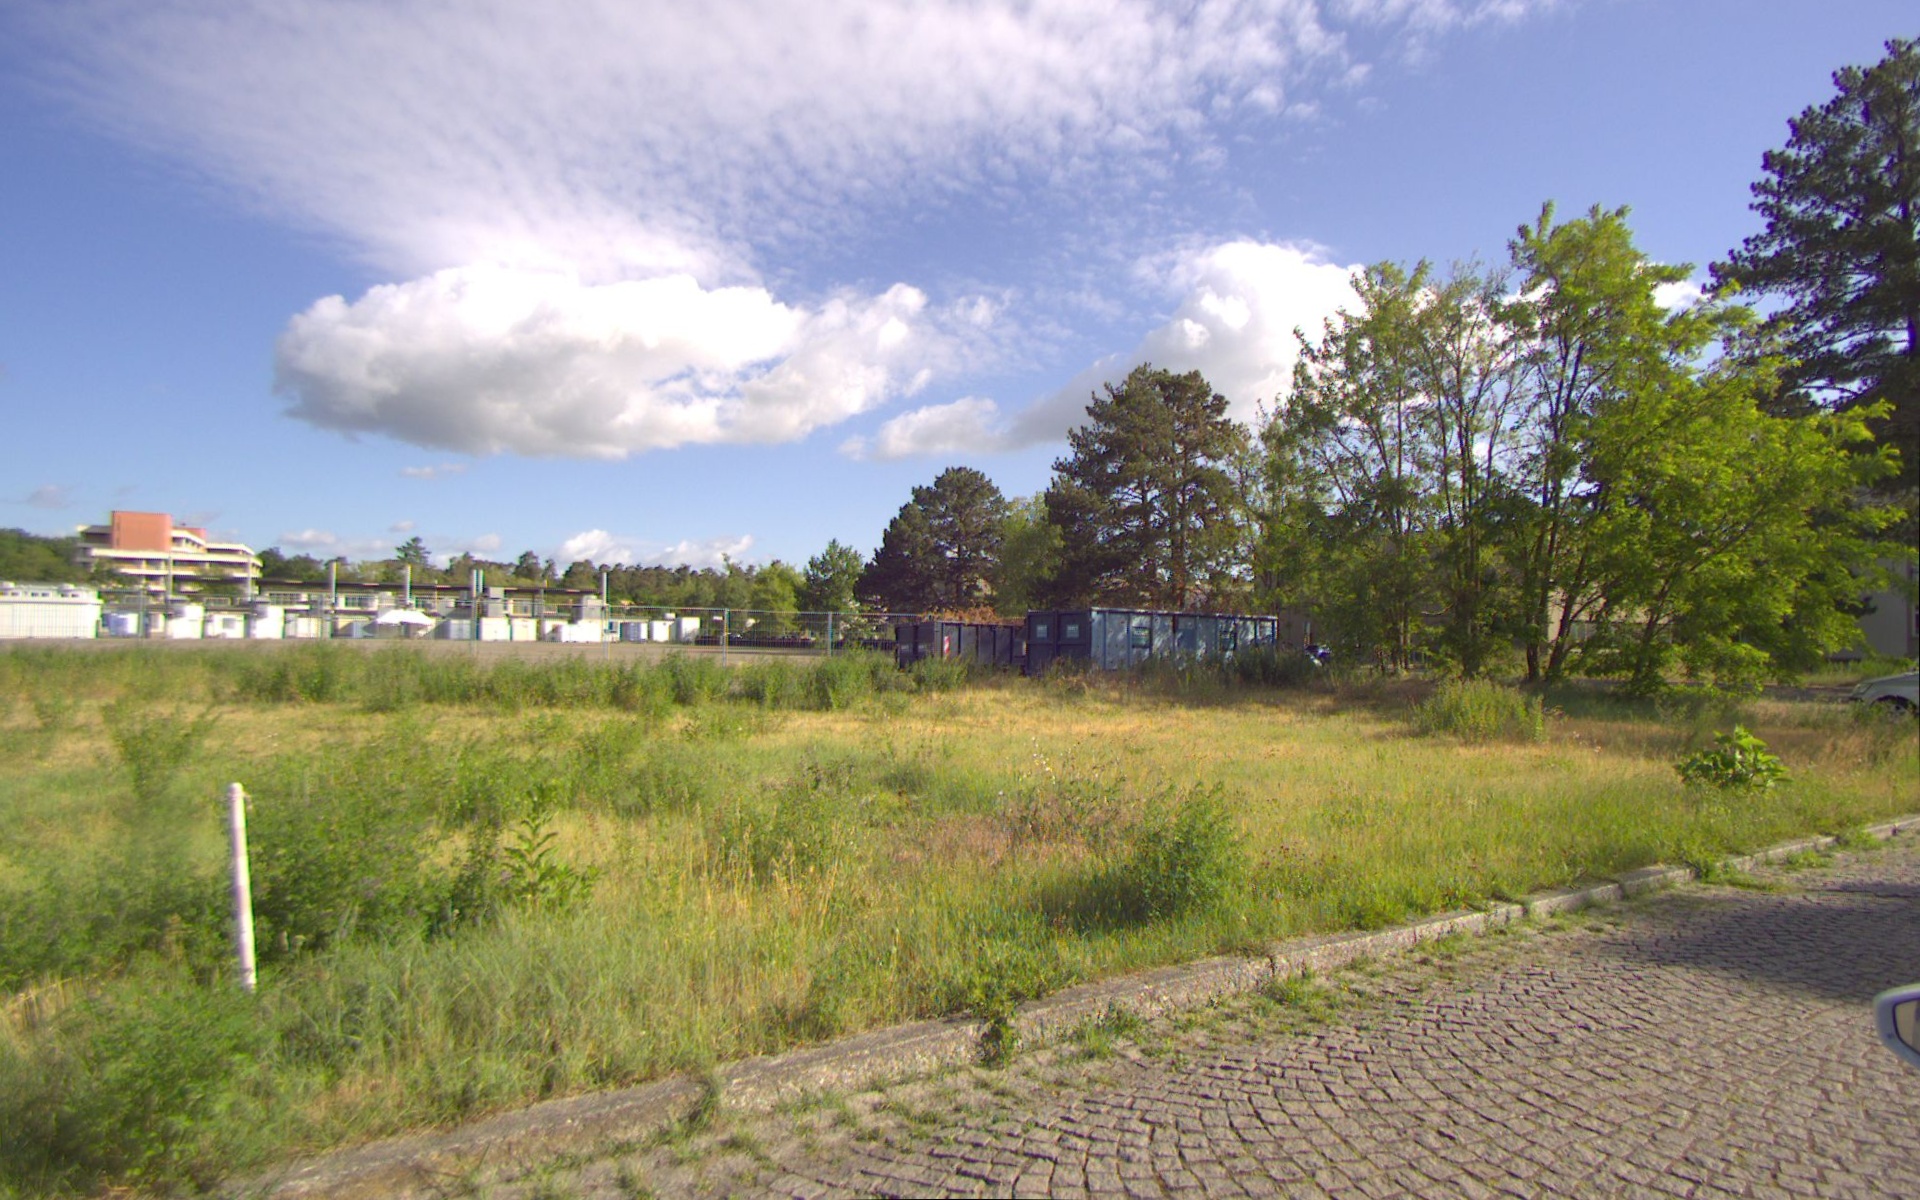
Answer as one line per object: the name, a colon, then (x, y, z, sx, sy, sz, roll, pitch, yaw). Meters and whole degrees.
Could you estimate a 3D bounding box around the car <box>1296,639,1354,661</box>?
car: (26.318, 3.593, 72.358, 3.954, 1.452, 1.893, 3, -2, -31)

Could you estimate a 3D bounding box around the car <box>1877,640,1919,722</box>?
car: (19.307, 1.566, 17.967, 1.784, 1.500, 3.963, 2, 0, -33)

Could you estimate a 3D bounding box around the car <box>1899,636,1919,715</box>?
car: (21.586, 1.621, 19.874, 1.865, 1.614, 4.055, 2, 0, -33)

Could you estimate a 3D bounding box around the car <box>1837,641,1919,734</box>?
car: (17.141, 1.519, 16.561, 1.628, 1.507, 3.723, 1, 0, -33)
